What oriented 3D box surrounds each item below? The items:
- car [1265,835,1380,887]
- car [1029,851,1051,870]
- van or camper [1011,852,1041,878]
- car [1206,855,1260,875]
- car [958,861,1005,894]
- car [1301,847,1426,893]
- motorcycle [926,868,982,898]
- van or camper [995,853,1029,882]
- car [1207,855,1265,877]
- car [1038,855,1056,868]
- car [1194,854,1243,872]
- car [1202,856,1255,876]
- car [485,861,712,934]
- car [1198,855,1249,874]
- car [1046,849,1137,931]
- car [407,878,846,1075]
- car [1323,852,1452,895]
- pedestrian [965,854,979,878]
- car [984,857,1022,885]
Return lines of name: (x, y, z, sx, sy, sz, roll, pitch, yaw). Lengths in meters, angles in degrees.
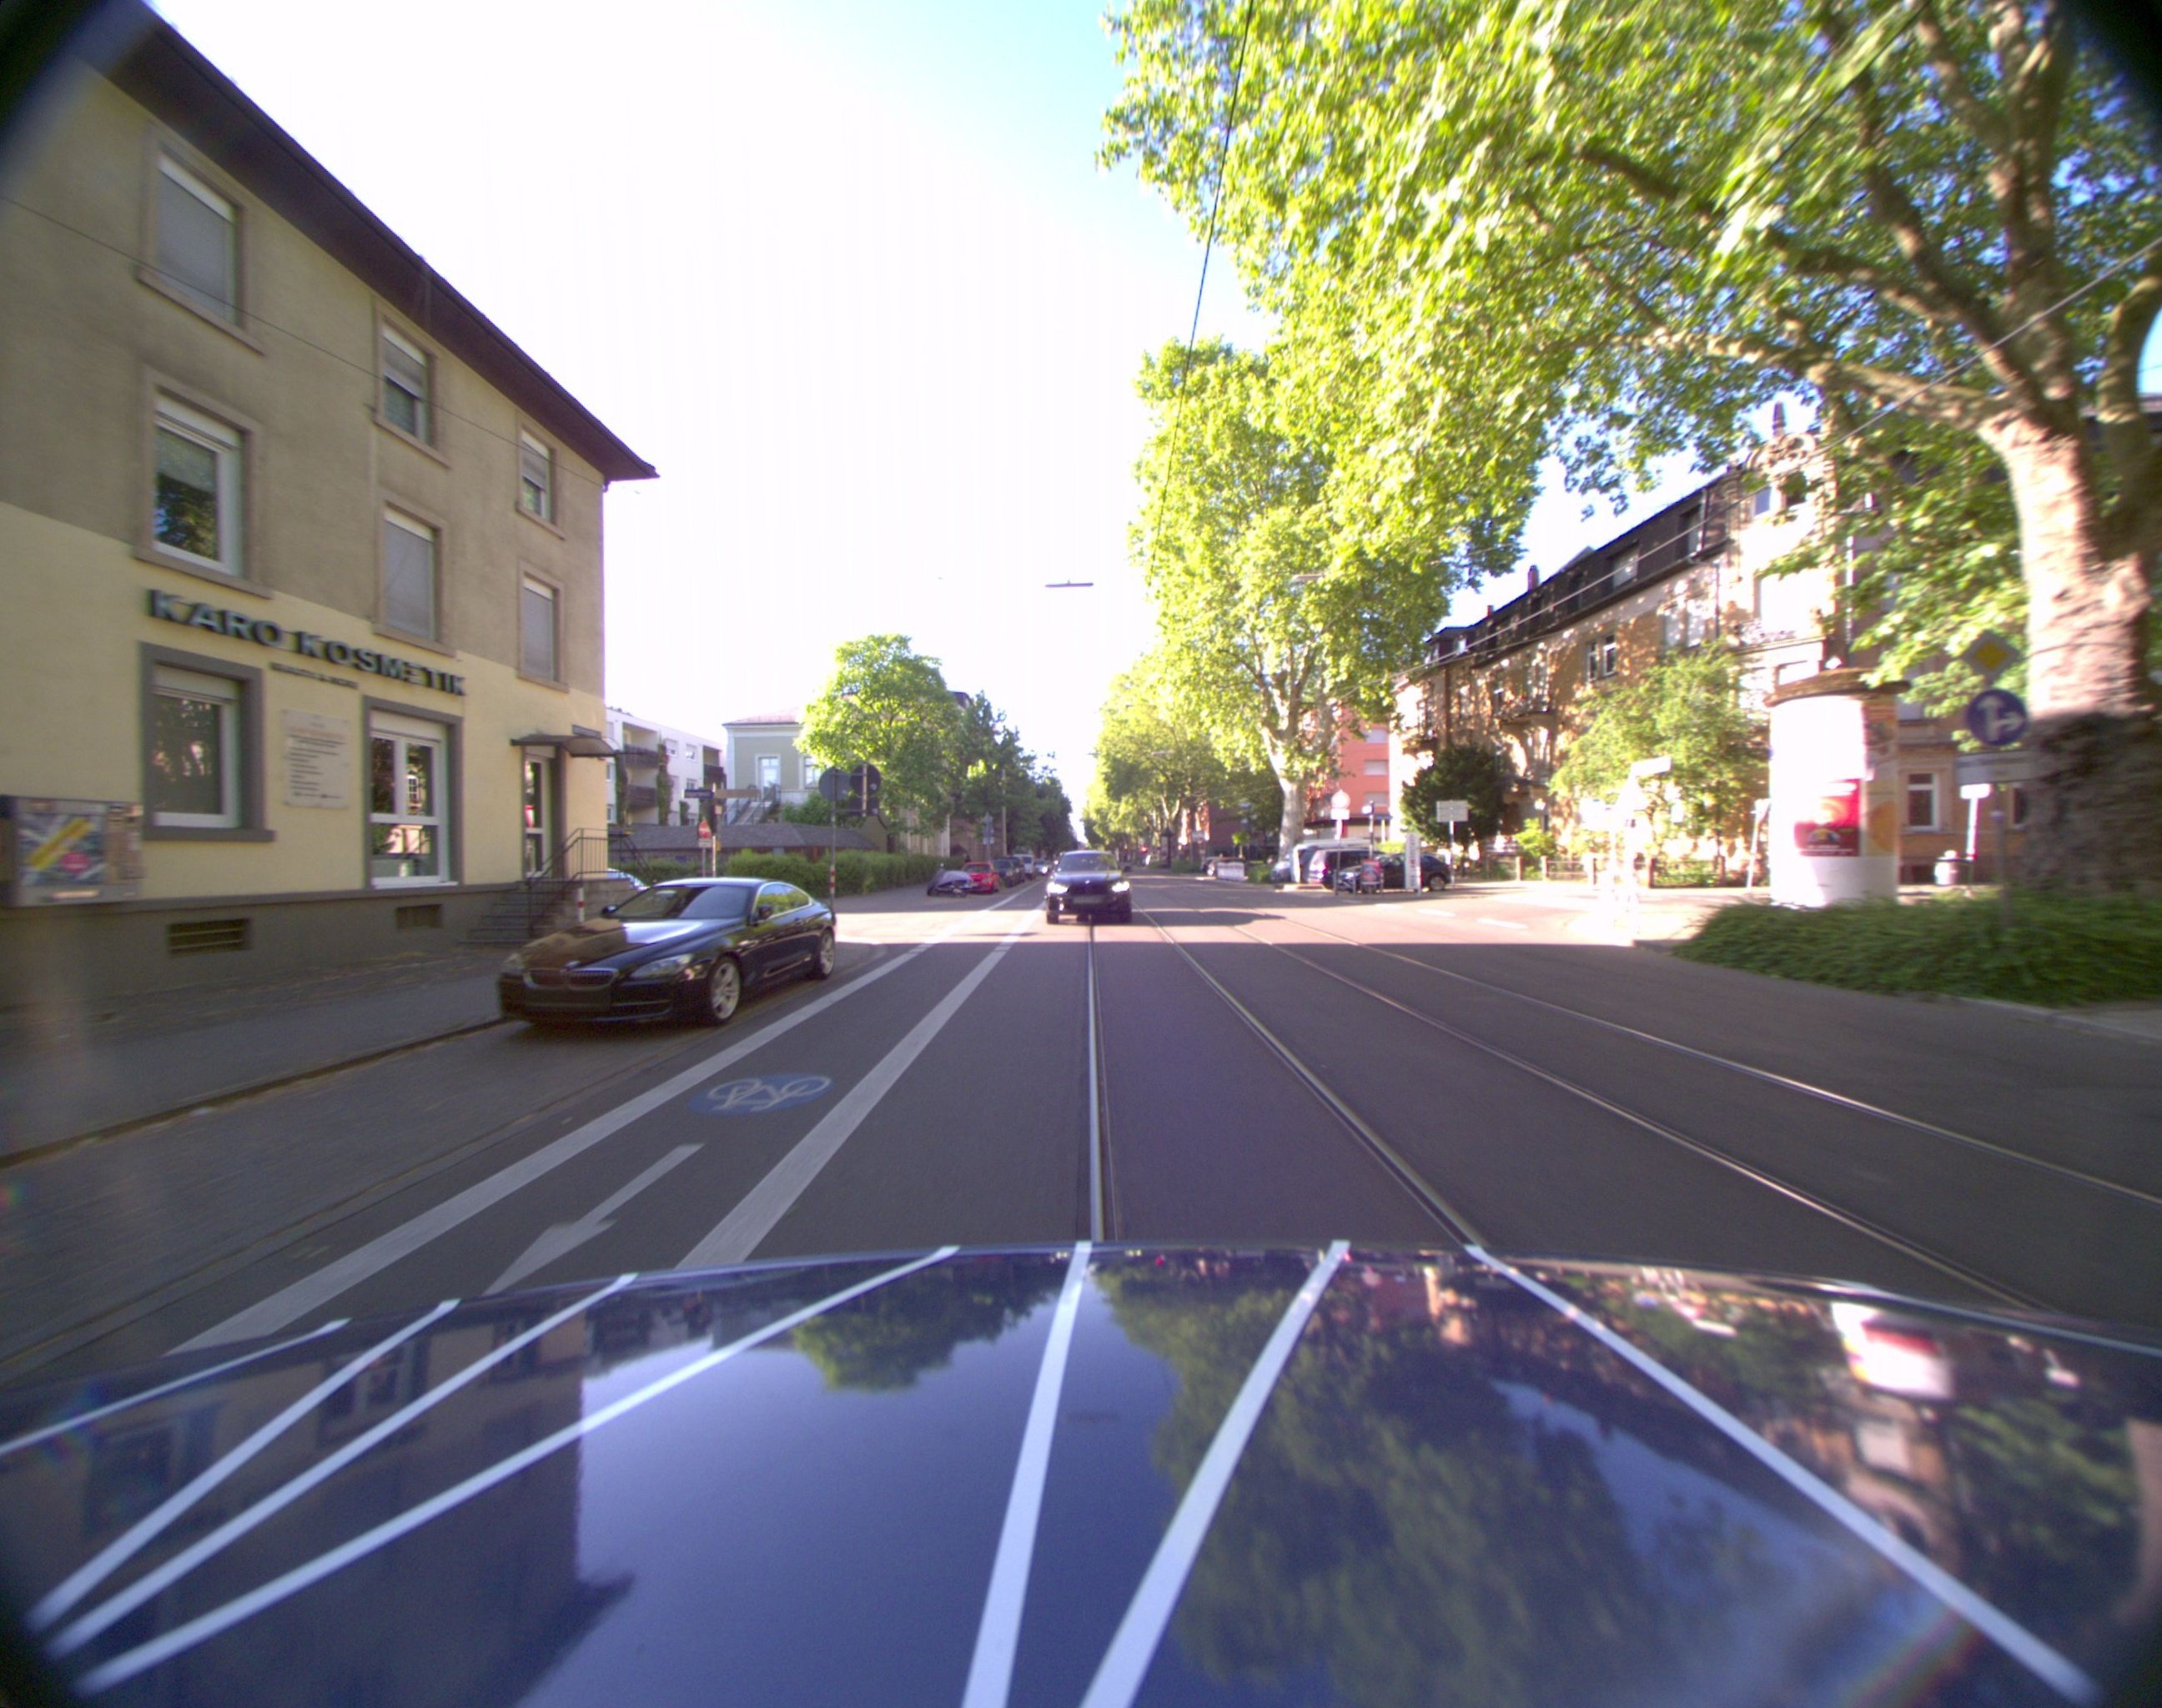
car: (11.939, 0.362, 37.765, 5.019, 2.383, 2.028, -1, 0, -1)
car: (-3.948, 0.598, 74.222, 1.815, 1.701, 4.372, 1, 0, 0)
van or camper: (-4.200, 0.781, 58.404, 1.882, 1.873, 4.923, 1, 0, 0)
car: (12.066, 0.878, 60.472, 3.966, 1.506, 1.810, -1, 0, -1)
car: (-4.506, 1.041, 34.838, 1.607, 1.372, 3.864, 1, 0, 0)
car: (11.802, 0.659, 31.934, 4.464, 1.755, 2.028, -1, 0, -1)
motorcycle: (-5.203, 1.172, 31.186, 2.071, 1.152, 0.828, 2, 1, 4)
van or camper: (-4.408, 0.842, 49.000, 1.694, 1.772, 4.443, 1, 0, 0)
car: (11.660, 0.909, 57.237, 3.966, 1.506, 1.810, -1, 0, -1)
car: (-3.913, 0.876, 88.586, 1.781, 1.490, 4.372, 1, 0, 0)
car: (12.252, 0.816, 67.959, 3.966, 1.506, 1.810, -1, 0, -1)
car: (12.108, 0.995, 62.492, 3.966, 1.506, 1.810, -1, 0, -1)
car: (-11.795, 1.073, 18.746, 4.458, 1.629, 1.904, -1, -2, 5)
car: (12.155, 0.912, 65.040, 3.966, 1.506, 1.810, -1, 0, -1)
car: (0.245, 0.775, 18.897, 1.924, 1.741, 4.806, -1, 0, 0)
car: (-4.365, 1.058, 8.442, 1.998, 1.372, 4.739, 1, 0, 0)
car: (11.737, 0.727, 29.282, 4.170, 1.506, 1.925, -1, 0, -1)
pedestrian: (-7.843, 0.880, 54.742, 0.813, 1.668, 0.885, -1, 1, 0)
car: (-4.429, 0.945, 43.806, 1.694, 1.478, 4.143, 1, 0, 0)
